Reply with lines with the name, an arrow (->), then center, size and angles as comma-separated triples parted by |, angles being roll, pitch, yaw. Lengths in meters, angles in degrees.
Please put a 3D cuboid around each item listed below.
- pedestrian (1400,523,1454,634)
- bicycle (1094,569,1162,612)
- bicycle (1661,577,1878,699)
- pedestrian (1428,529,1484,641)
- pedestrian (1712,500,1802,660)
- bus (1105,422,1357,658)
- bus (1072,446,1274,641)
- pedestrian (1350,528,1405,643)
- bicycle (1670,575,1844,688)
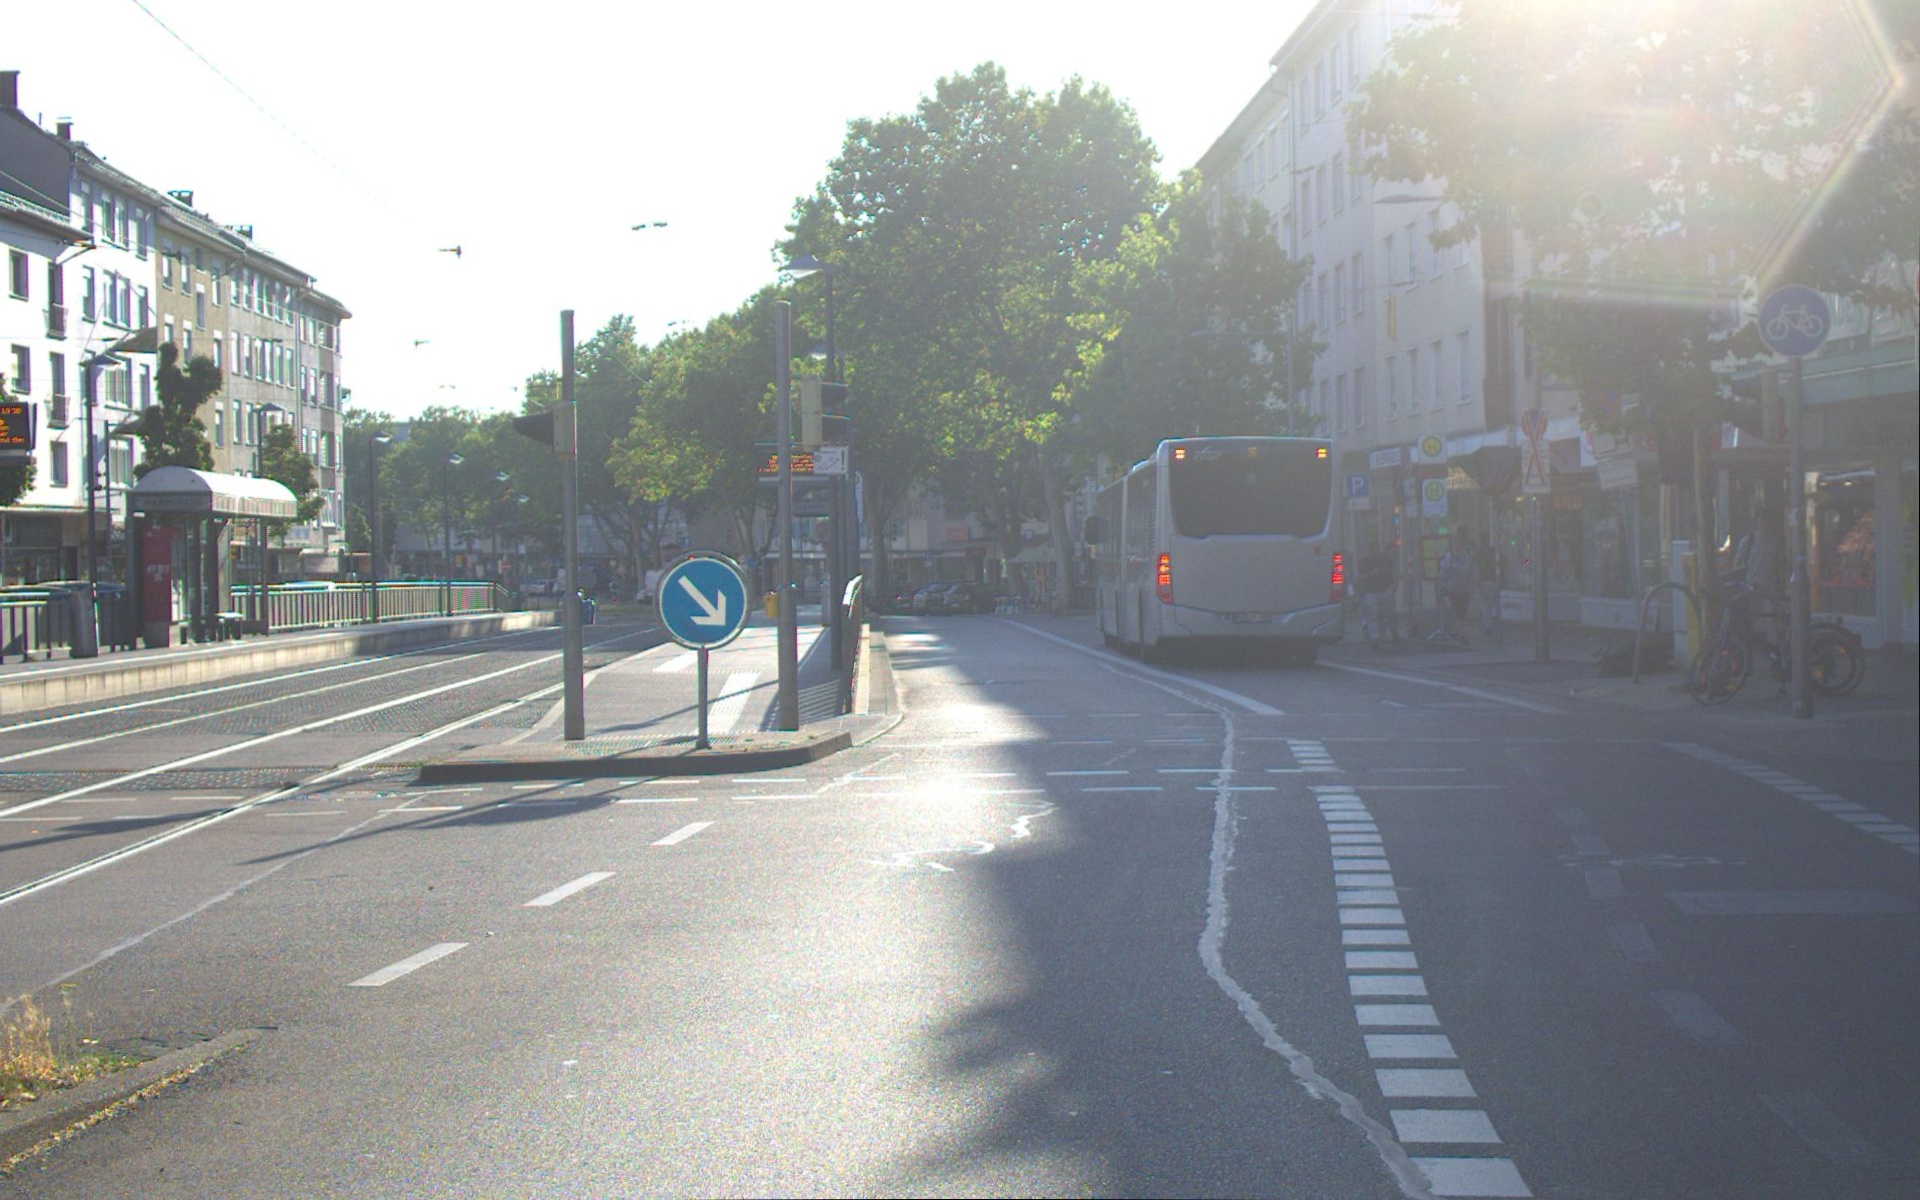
pedestrian -> 7.572, -0.344, 55.768 | 0.723, 1.773, 0.766 | -1, 0, -1
bicycle -> 4.937, -0.279, 100.975 | 1.887, 1.073, 0.754 | -5, 1, 2
bicycle -> 7.354, 0.341, 31.266 | 1.798, 1.005, 0.541 | -3, 1, -4
pedestrian -> 7.744, -0.234, 53.690 | 0.723, 1.717, 0.766 | -1, 0, -1
pedestrian -> 9.101, -0.229, 39.276 | 0.743, 1.774, 0.895 | -2, 0, -1
bus -> 3.783, -0.848, 50.095 | 2.696, 3.107, 9.382 | 0, 1, -1
bus -> 3.543, -0.955, 59.360 | 2.696, 3.107, 9.071 | 0, 1, -1
pedestrian -> 6.589, -0.229, 54.250 | 0.723, 1.800, 0.766 | -1, 0, -1
bicycle -> 7.376, 0.289, 31.842 | 1.482, 1.005, 0.454 | -1, 1, -4
